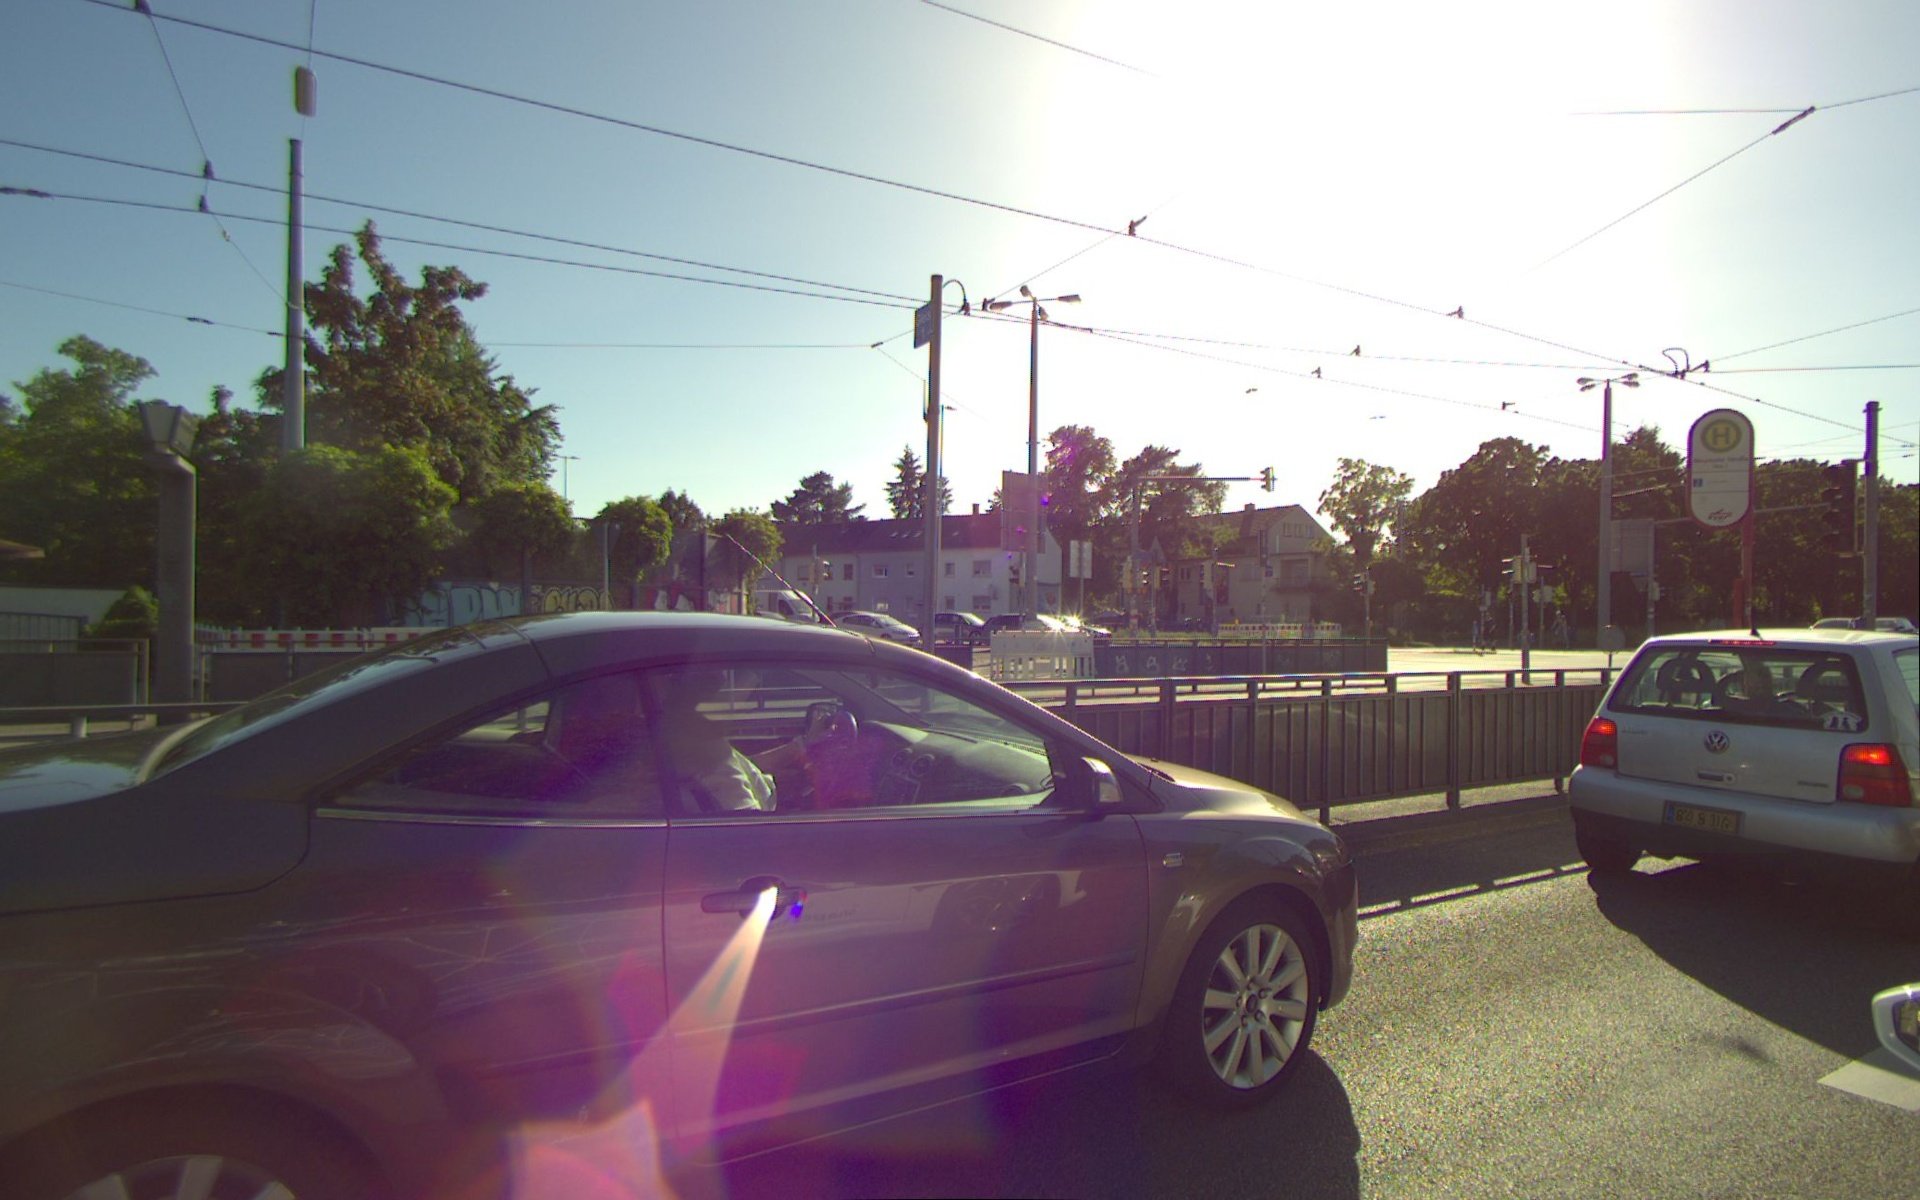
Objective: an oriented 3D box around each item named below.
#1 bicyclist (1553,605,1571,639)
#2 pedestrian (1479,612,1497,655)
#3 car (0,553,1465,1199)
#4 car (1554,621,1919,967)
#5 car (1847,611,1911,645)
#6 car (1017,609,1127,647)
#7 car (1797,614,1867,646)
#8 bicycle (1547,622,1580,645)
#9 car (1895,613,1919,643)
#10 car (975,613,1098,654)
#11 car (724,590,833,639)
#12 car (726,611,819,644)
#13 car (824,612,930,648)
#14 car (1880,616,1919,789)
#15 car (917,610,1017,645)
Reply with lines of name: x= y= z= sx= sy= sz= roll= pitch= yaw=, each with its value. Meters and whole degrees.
bicyclist: x=28.394 y=1.034 z=47.353 sx=0.641 sy=1.629 sz=0.487 roll=1 pitch=-1 yaw=-31
pedestrian: x=24.083 y=1.518 z=45.812 sx=0.599 sy=1.974 sz=0.776 roll=0 pitch=0 yaw=16
car: x=-0.410 y=0.747 z=3.135 sx=4.150 sy=1.555 sz=1.740 roll=1 pitch=-1 yaw=-33
car: x=5.236 y=0.885 z=5.959 sx=3.376 sy=1.488 sz=1.573 roll=1 pitch=0 yaw=-32
car: x=47.057 y=1.418 z=51.404 sx=3.964 sy=1.710 sz=1.778 roll=1 pitch=-1 yaw=-37
car: x=4.697 y=1.147 z=42.322 sx=4.175 sy=1.486 sz=1.933 roll=0 pitch=0 yaw=32
car: x=42.100 y=1.440 z=48.490 sx=3.665 sy=1.478 sz=1.673 roll=1 pitch=-1 yaw=-34
bicycle: x=28.495 y=1.564 z=47.428 sx=1.926 sy=1.056 sz=0.504 roll=1 pitch=-1 yaw=-31
car: x=53.908 y=1.558 z=55.979 sx=4.647 sy=1.617 sz=1.801 roll=1 pitch=-1 yaw=-36
car: x=2.974 y=1.271 z=39.359 sx=4.556 sy=1.496 sz=1.668 roll=0 pitch=-1 yaw=32
car: x=-9.558 y=0.748 z=52.693 sx=5.823 sy=2.443 sz=2.174 roll=0 pitch=-1 yaw=35
car: x=-8.950 y=1.299 z=47.847 sx=4.185 sy=1.486 sz=1.933 roll=0 pitch=-1 yaw=32
car: x=-3.618 y=1.270 z=43.694 sx=4.290 sy=1.486 sz=1.933 roll=0 pitch=-1 yaw=32
car: x=10.792 y=0.946 z=9.596 sx=4.371 sy=1.548 sz=1.867 roll=1 pitch=-1 yaw=-32
car: x=0.313 y=1.199 z=45.631 sx=4.185 sy=1.486 sz=1.933 roll=0 pitch=0 yaw=32
